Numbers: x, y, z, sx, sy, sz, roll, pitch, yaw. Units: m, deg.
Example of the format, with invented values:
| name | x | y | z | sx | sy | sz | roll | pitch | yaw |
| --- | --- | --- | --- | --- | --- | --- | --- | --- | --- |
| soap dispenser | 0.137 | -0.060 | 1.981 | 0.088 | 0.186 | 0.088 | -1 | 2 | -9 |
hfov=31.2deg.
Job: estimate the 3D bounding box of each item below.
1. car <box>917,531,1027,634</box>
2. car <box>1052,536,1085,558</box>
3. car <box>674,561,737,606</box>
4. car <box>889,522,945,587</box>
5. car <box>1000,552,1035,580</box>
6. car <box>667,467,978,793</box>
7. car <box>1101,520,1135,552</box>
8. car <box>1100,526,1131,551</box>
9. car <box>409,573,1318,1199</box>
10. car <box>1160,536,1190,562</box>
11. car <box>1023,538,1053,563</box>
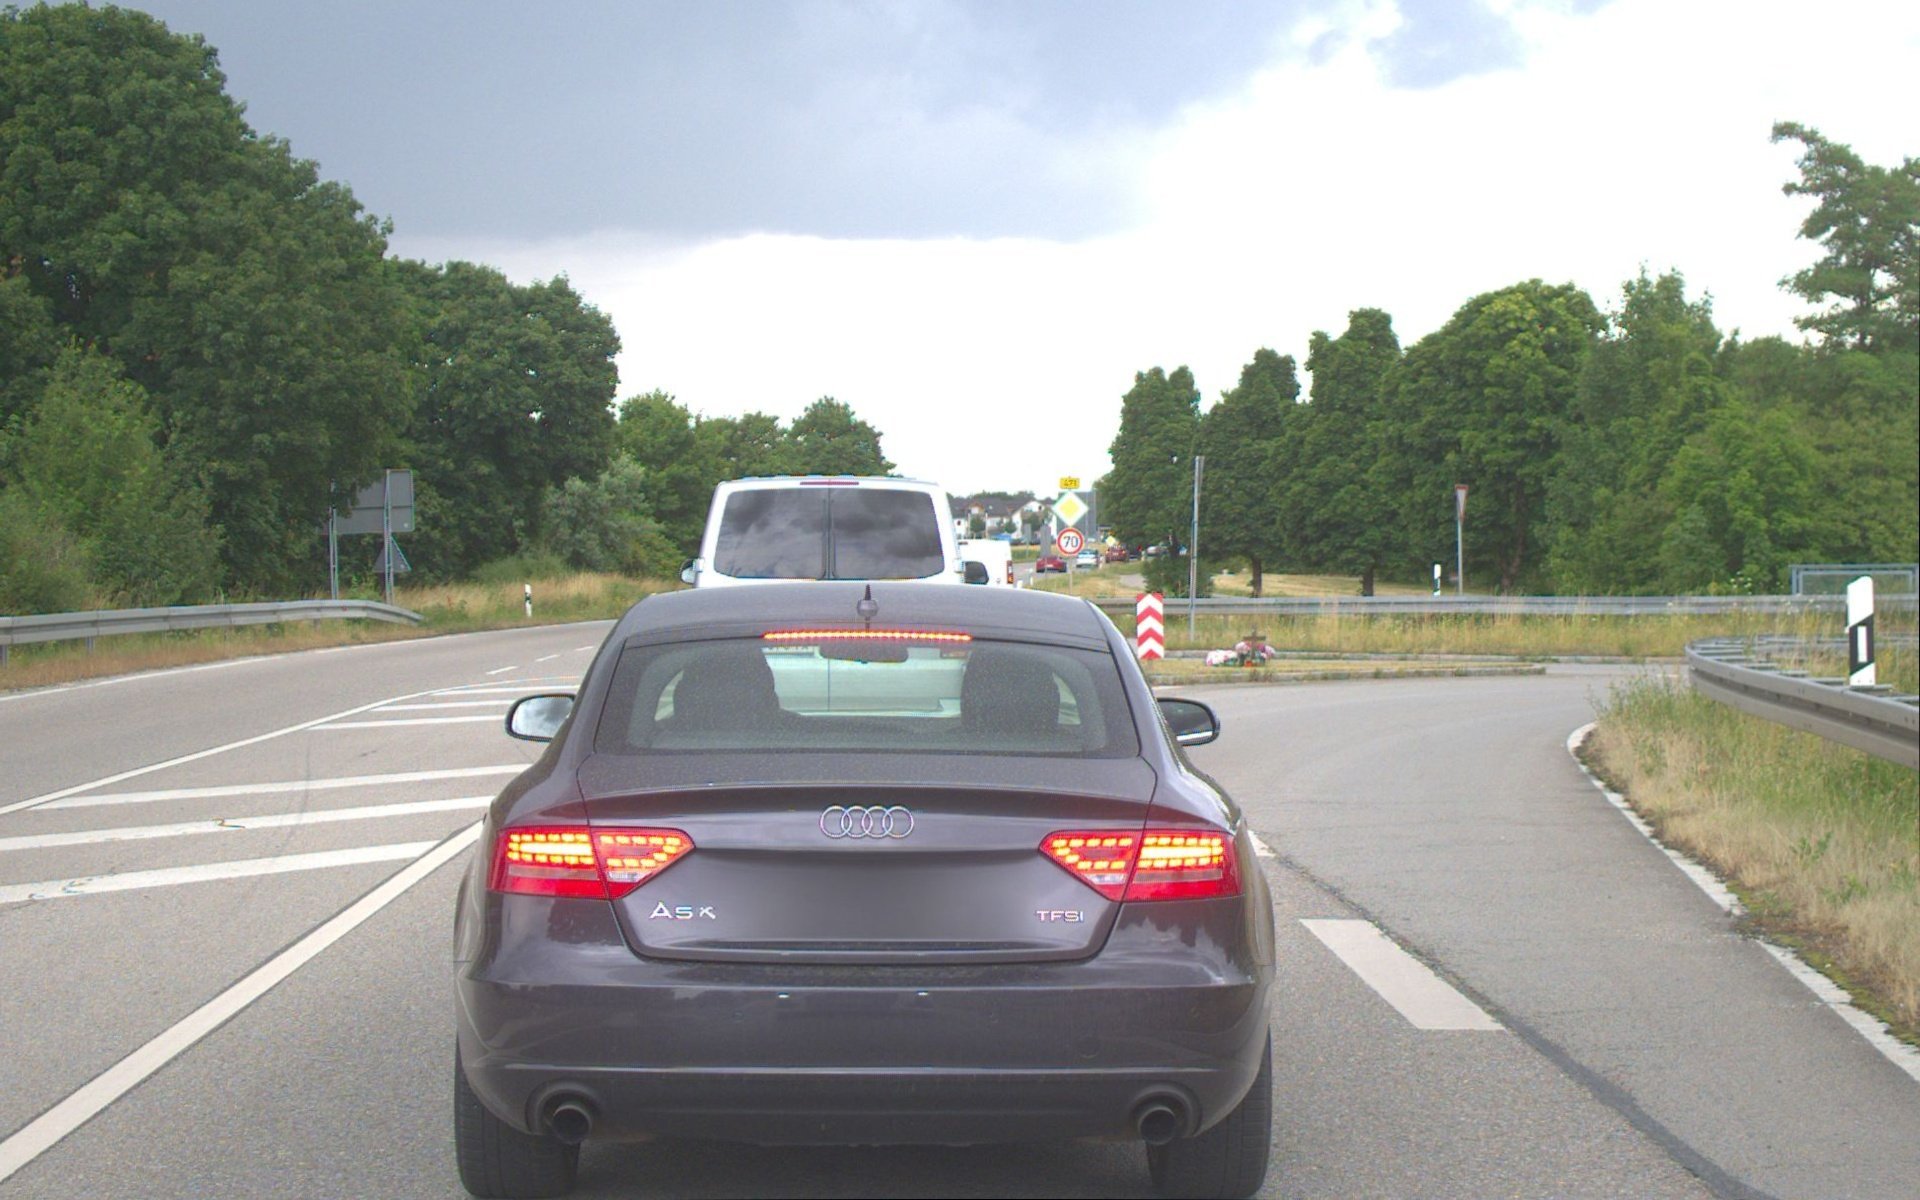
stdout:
| name | x | y | z | sx | sy | sz | roll | pitch | yaw |
| --- | --- | --- | --- | --- | --- | --- | --- | --- | --- |
| car | 0.212 | -0.414 | 72.970 | 2.081 | 2.057 | 4.877 | 1 | 1 | -3 |
| car | 8.128 | -3.994 | 258.499 | 2.205 | 1.577 | 4.379 | 1 | 1 | -2 |
| car | -8.320 | -0.549 | 112.614 | 1.798 | 1.393 | 3.483 | 1 | 1 | 0 |
| car | -1.629 | -1.751 | 131.087 | 1.993 | 2.400 | 4.000 | 2 | 1 | 0 |
| car | 3.034 | -1.796 | 181.076 | 1.523 | 1.394 | 3.182 | 0 | 0 | 7 |
| car | -0.911 | 0.140 | 23.384 | 1.910 | 2.007 | 4.001 | 1 | 1 | -2 |
| car | 10.035 | -4.087 | 218.878 | 1.993 | 2.007 | 4.000 | 1 | 1 | 1 |
| car | 10.749 | -4.269 | 237.864 | 1.993 | 1.686 | 4.000 | 1 | 1 | 1 |
| car | -0.242 | 0.653 | 8.425 | 1.779 | 1.394 | 3.337 | 0 | 1 | -2 |
| car | 14.439 | -3.418 | 230.892 | 1.876 | 1.686 | 4.000 | 1 | 1 | 5 |
| car | 5.344 | -3.418 | 236.437 | 1.993 | 1.686 | 4.000 | 1 | 1 | 1 |
